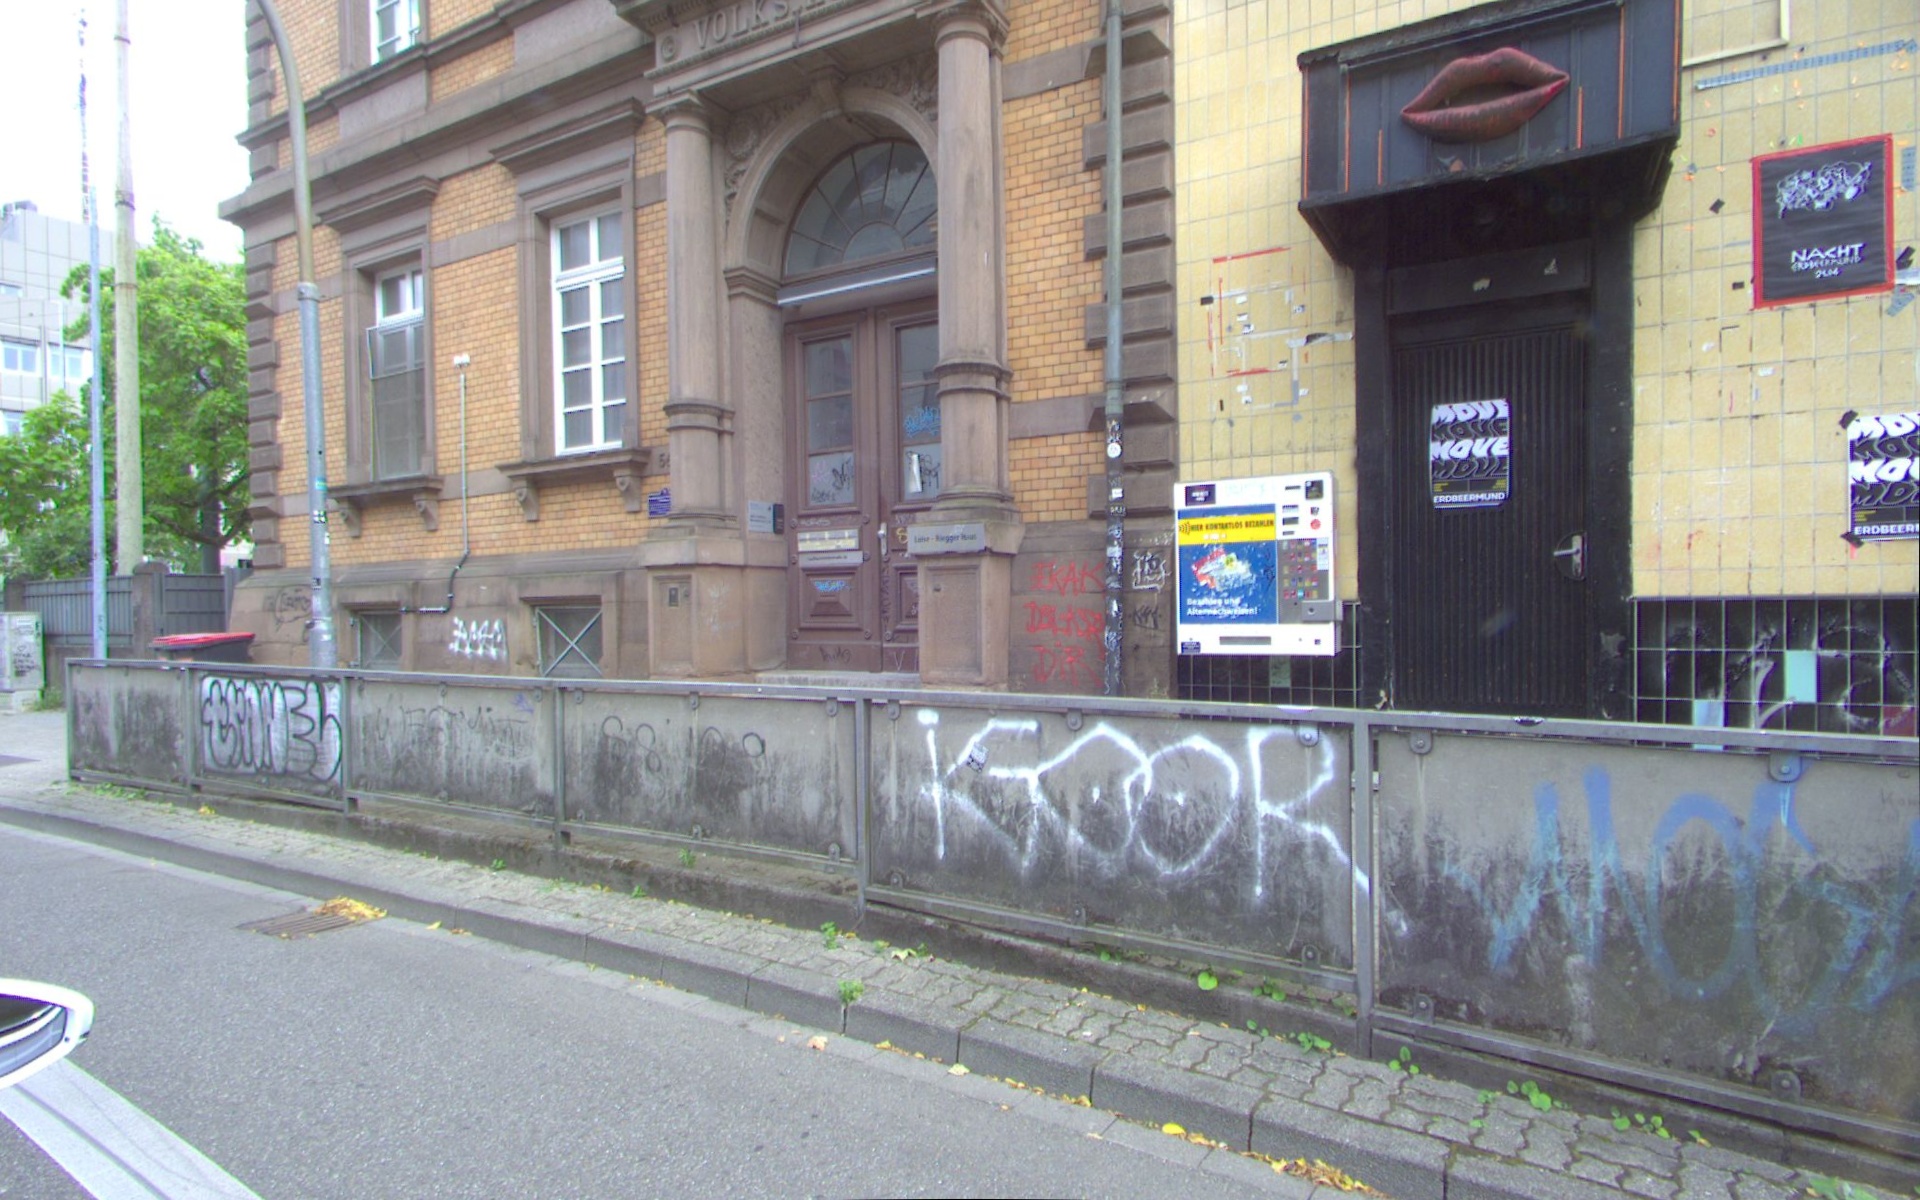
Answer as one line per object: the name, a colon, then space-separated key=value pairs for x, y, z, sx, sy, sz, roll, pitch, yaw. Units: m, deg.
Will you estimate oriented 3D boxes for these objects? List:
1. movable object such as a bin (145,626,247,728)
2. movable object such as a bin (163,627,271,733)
movable object such as a bin: x=-8.895 y=0.881 z=11.668 sx=0.667 sy=1.097 sz=0.650 roll=-1 pitch=4 yaw=27
movable object such as a bin: x=-8.330 y=0.875 z=11.238 sx=0.690 sy=1.097 sz=0.662 roll=-1 pitch=4 yaw=27
